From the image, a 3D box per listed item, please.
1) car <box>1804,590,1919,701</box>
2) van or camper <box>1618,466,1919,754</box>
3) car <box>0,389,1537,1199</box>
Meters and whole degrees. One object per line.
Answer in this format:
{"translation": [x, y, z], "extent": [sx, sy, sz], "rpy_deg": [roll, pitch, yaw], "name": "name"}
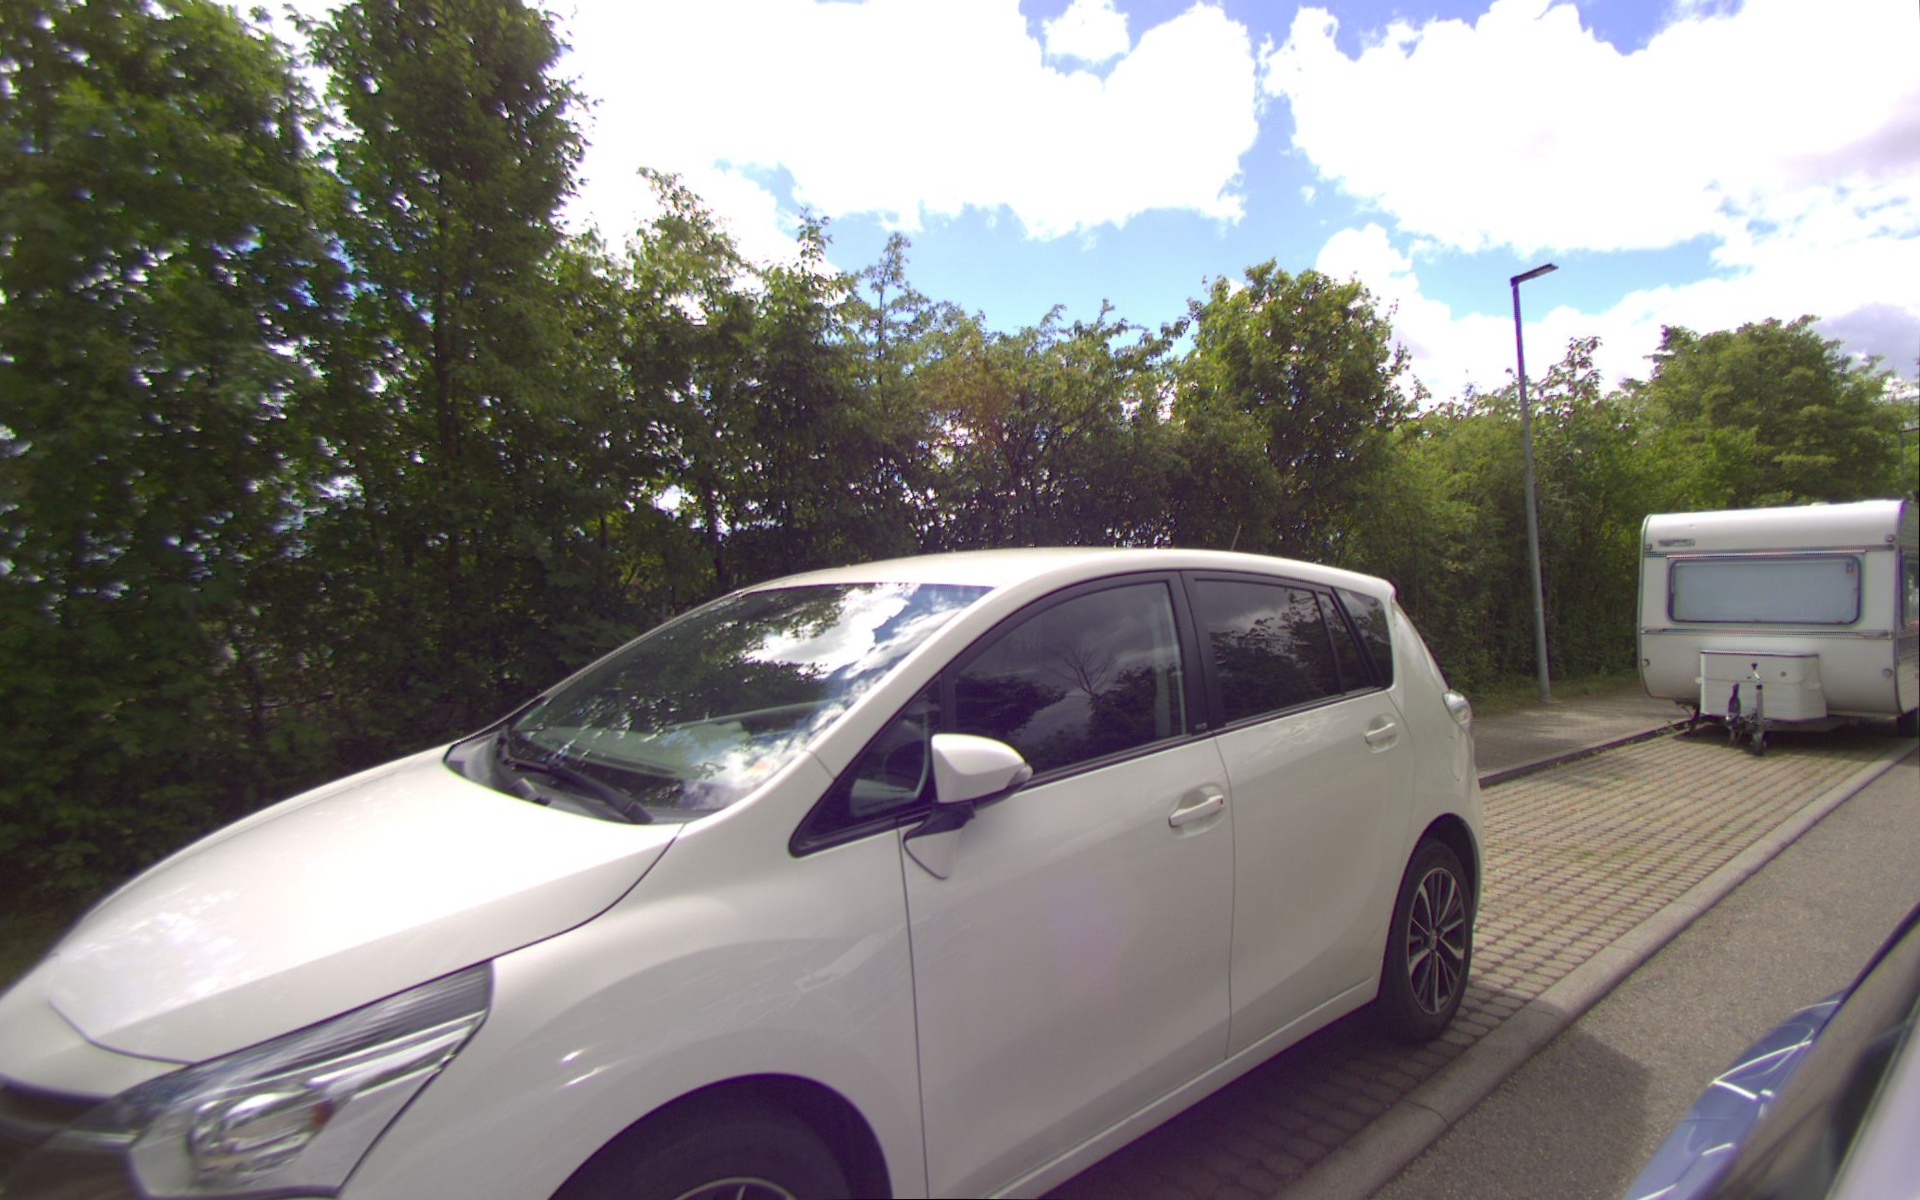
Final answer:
{"translation": [14.353, 0.601, 15.310], "extent": [4.401, 1.469, 1.684], "rpy_deg": [-1, -1, -41], "name": "car"}
{"translation": [9.750, 0.061, 11.611], "extent": [4.985, 2.586, 2.359], "rpy_deg": [-1, 0, -40], "name": "van or camper"}
{"translation": [-0.017, 0.603, 3.043], "extent": [4.297, 1.620, 1.807], "rpy_deg": [0, 0, -42], "name": "car"}
